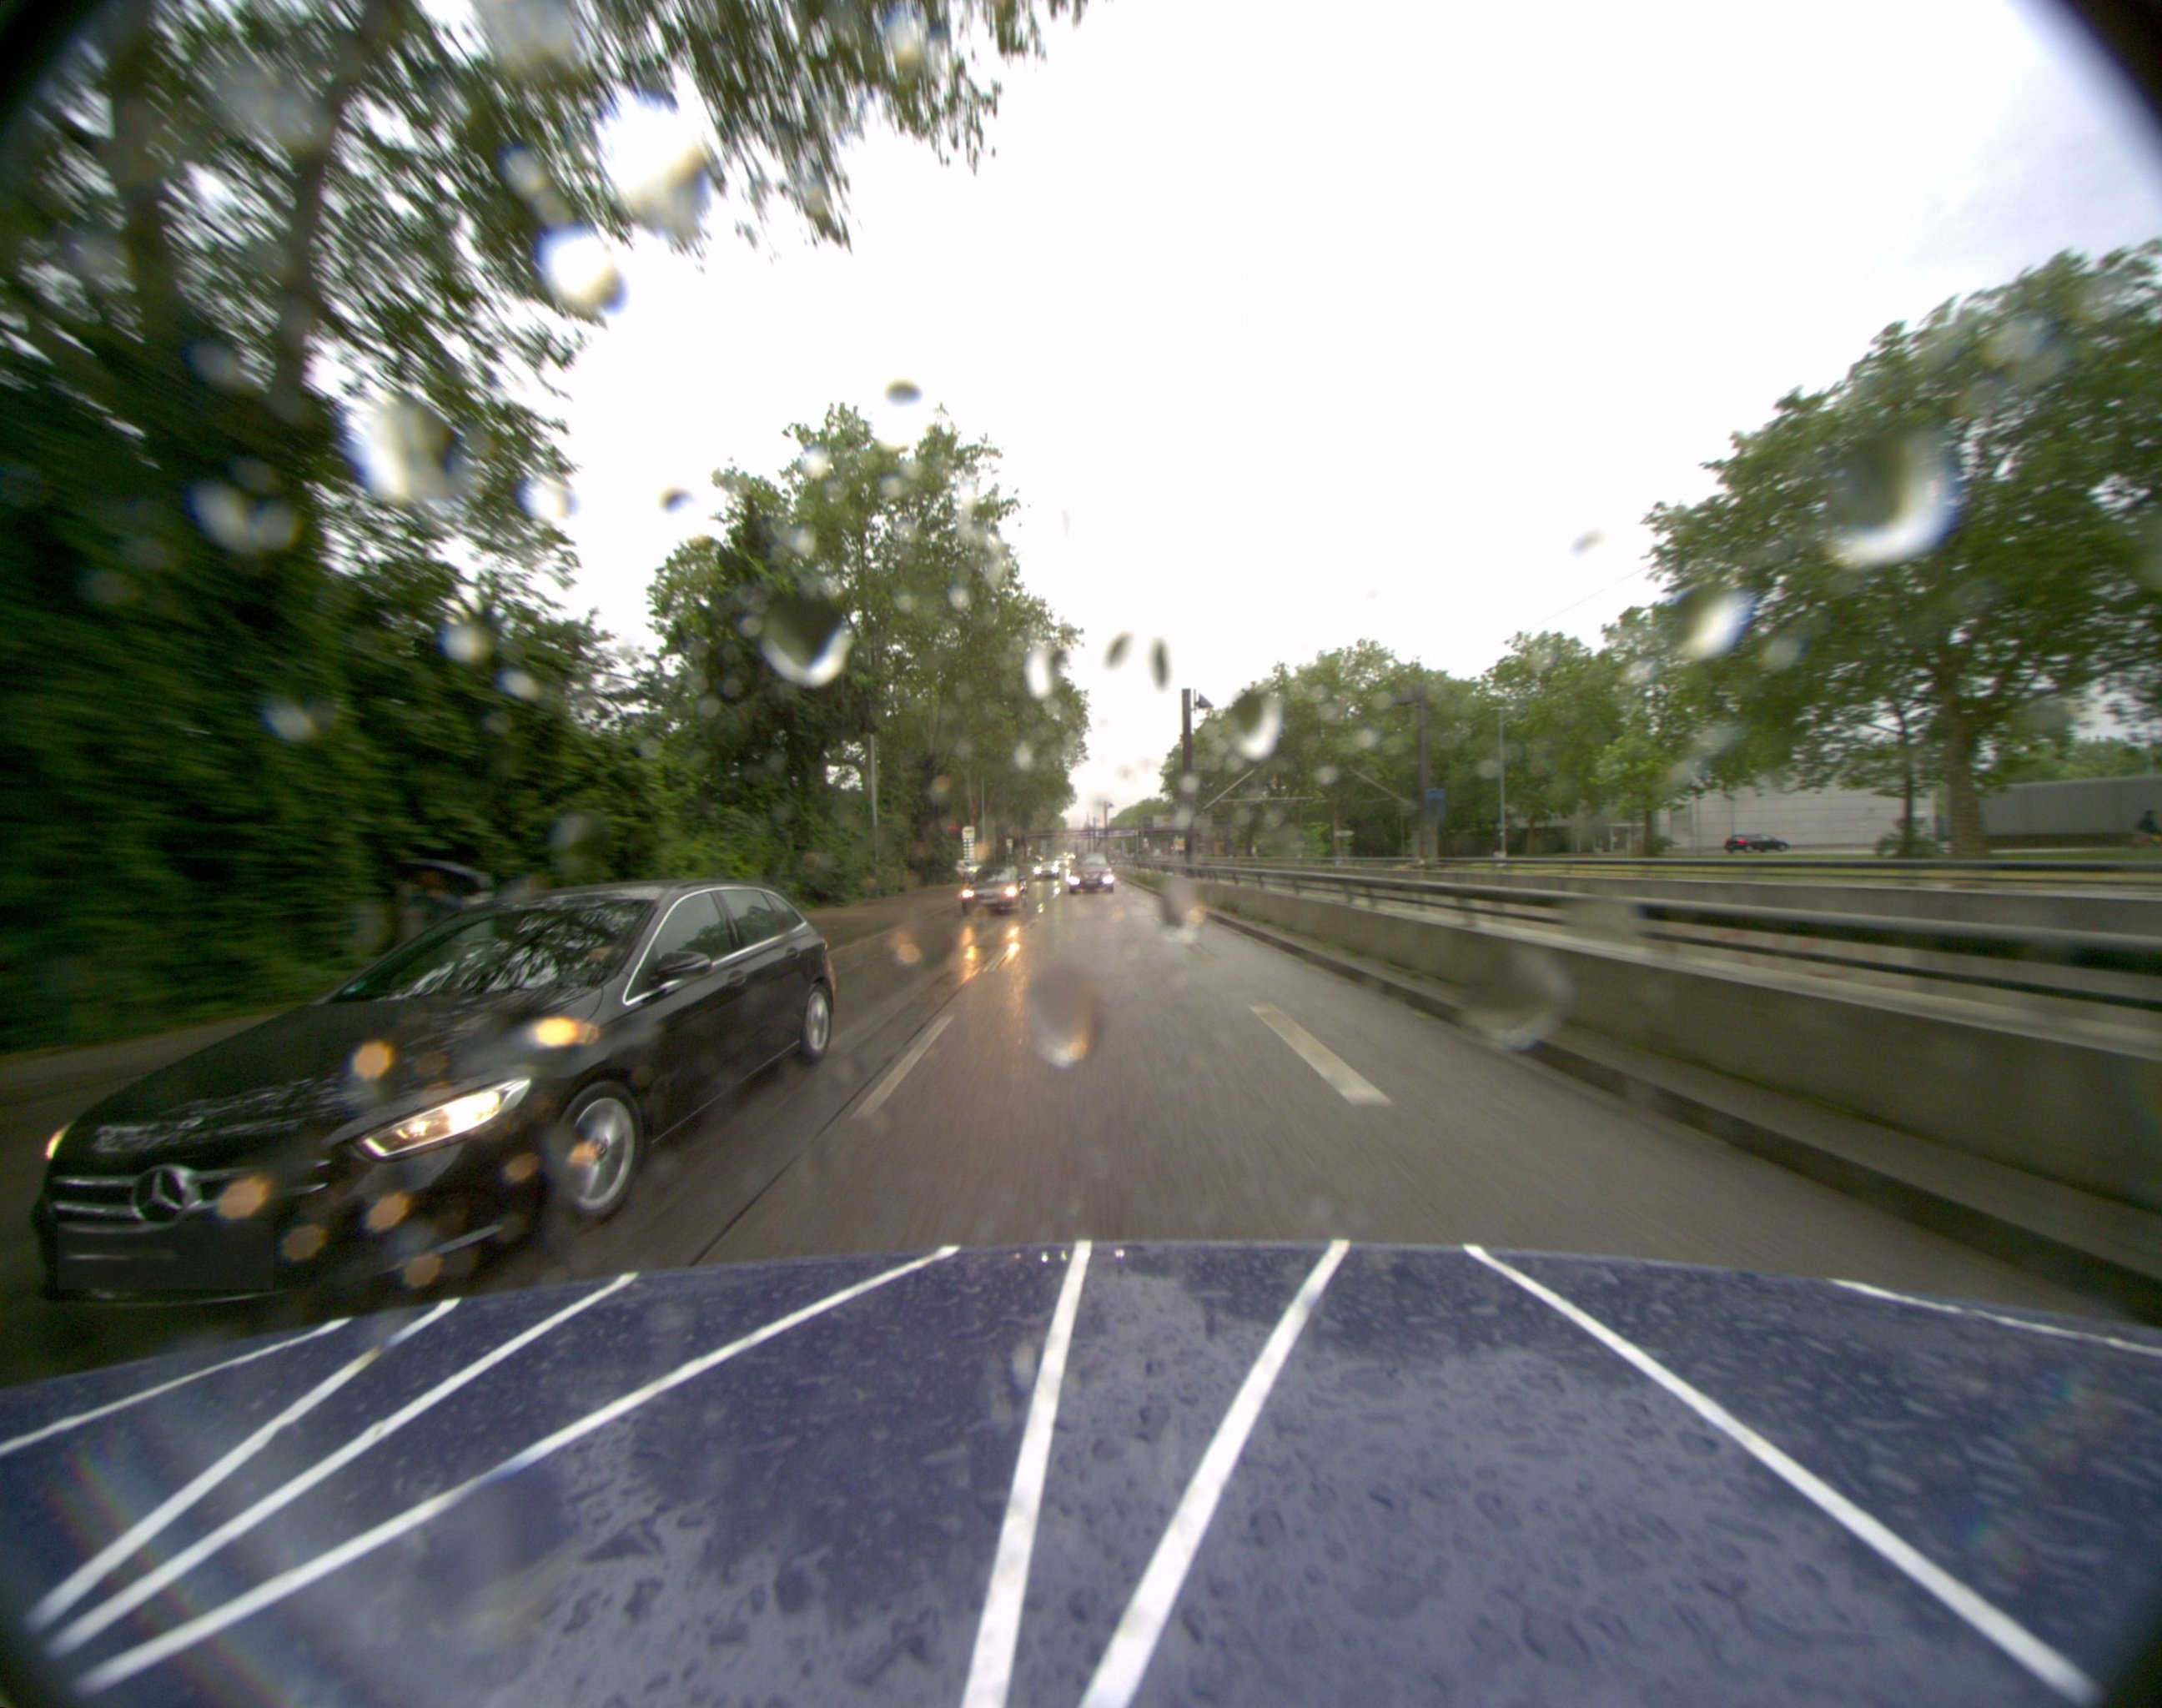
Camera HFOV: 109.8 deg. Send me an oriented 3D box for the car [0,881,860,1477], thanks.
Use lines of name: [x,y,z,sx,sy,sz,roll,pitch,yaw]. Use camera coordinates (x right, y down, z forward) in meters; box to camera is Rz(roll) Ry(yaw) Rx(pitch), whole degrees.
car: [-2.963,1.075,4.471,1.821,1.521,4.422,-4,0,2]

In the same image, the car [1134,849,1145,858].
car: [13.909,-0.212,181.190,1.999,2.002,4.509,-4,1,-1]

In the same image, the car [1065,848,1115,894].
car: [0.430,0.722,33.673,1.975,1.794,4.159,-3,0,2]

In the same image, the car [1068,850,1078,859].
car: [-1.507,0.129,139.933,1.869,1.689,4.158,-2,0,-1]

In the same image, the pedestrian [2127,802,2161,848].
pedestrian: [48.134,-1.289,34.183,1.004,2.002,0.790,-4,1,1]

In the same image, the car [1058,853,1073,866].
car: [-2.144,0.733,104.746,1.869,1.689,4.425,-2,0,-1]

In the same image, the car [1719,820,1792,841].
car: [52.534,-1.826,59.207,3.789,1.395,2.001,-2,0,5]

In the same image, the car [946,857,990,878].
car: [-8.711,1.060,58.437,1.611,1.423,3.547,-4,1,-42]

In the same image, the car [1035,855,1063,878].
car: [-2.309,0.901,55.477,1.821,1.520,4.158,-2,0,-1]

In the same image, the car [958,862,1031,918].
car: [-2.549,1.038,23.249,1.641,1.377,3.782,-3,1,1]

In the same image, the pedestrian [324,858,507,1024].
pedestrian: [-7.402,0.915,8.534,0.969,1.692,1.140,-2,1,0]
